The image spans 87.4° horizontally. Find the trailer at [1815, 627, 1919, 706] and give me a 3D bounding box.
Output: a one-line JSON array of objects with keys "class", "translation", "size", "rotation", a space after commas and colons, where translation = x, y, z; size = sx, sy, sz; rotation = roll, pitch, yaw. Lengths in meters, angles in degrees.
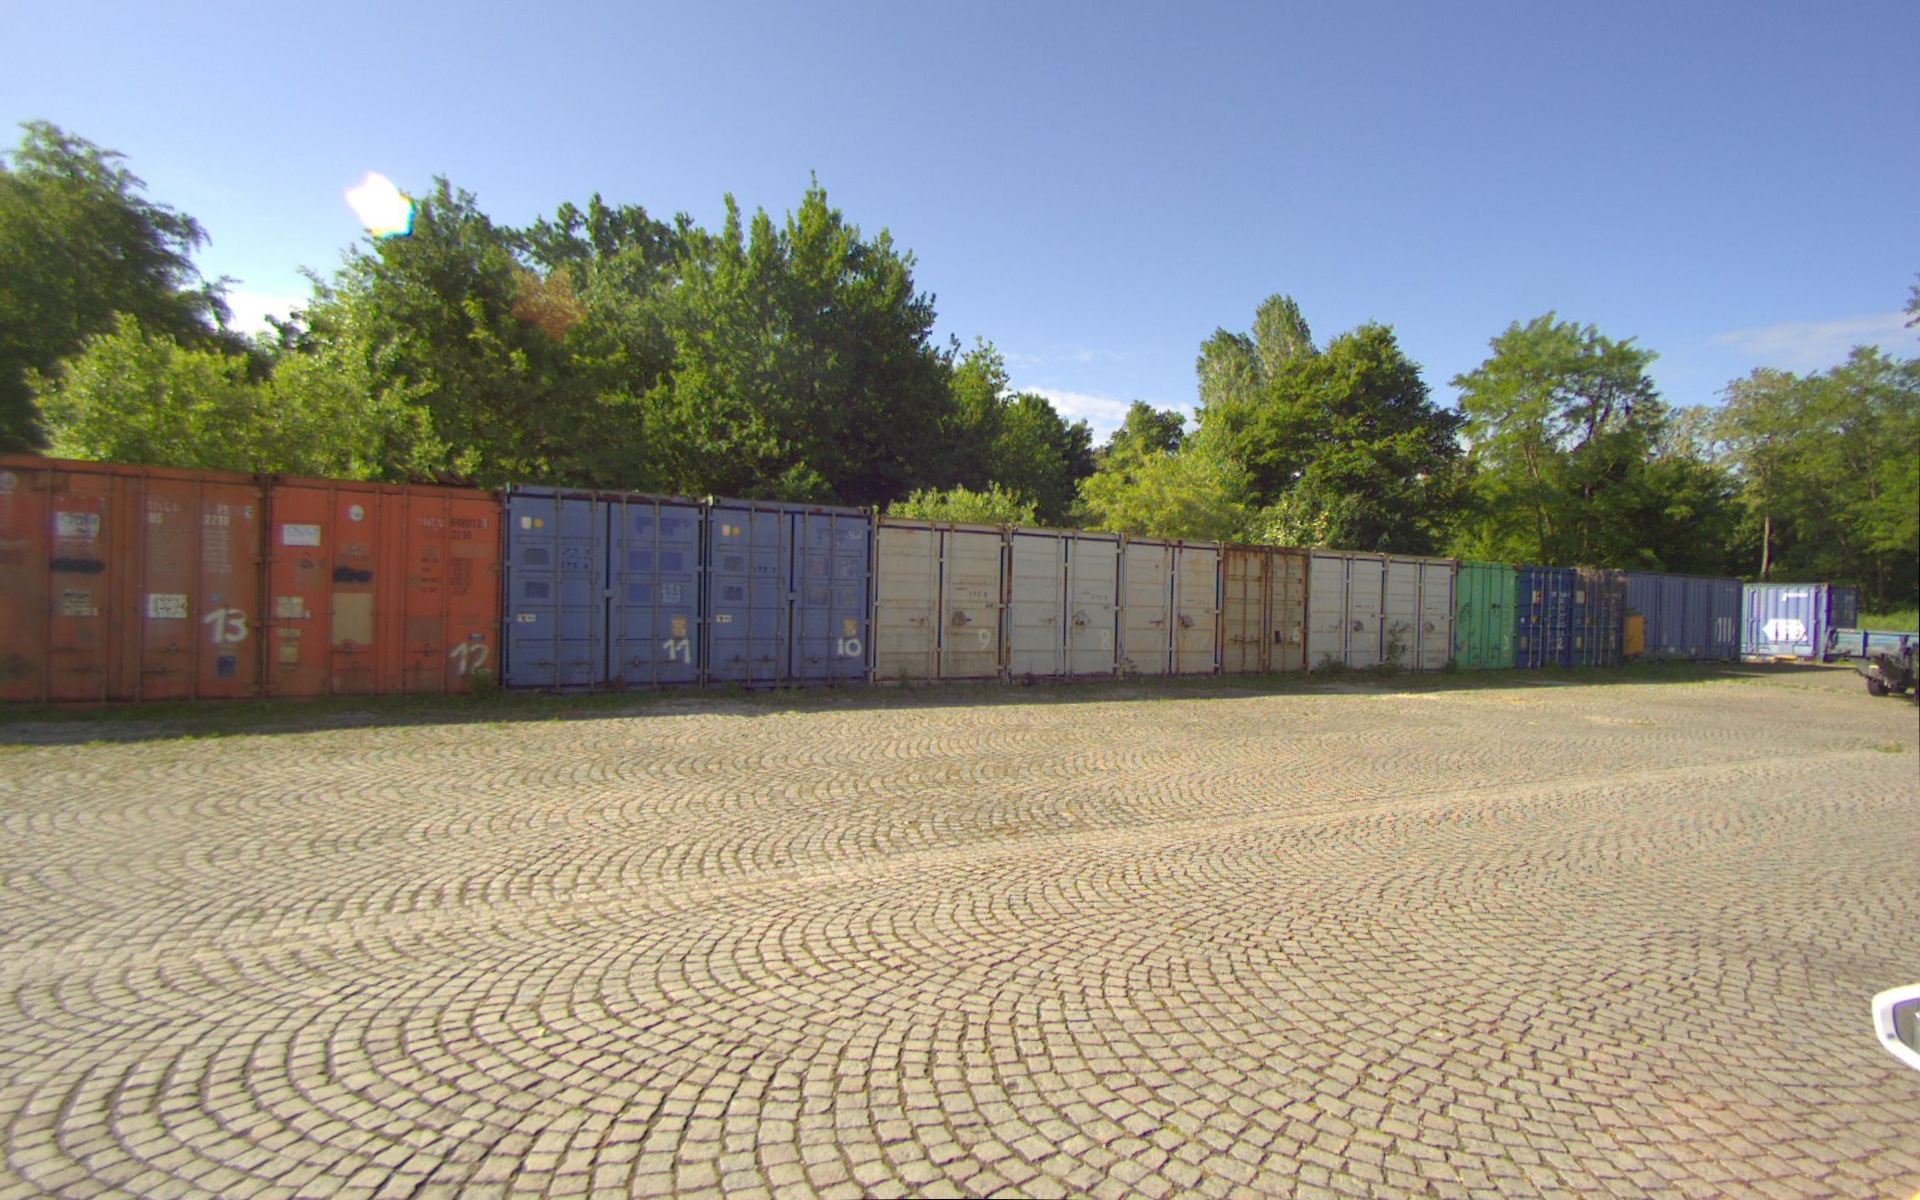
[{"class": "trailer", "translation": [20.317, 1.370, 20.699], "size": [4.804, 1.433, 2.628], "rotation": [2, 0, -30]}]
